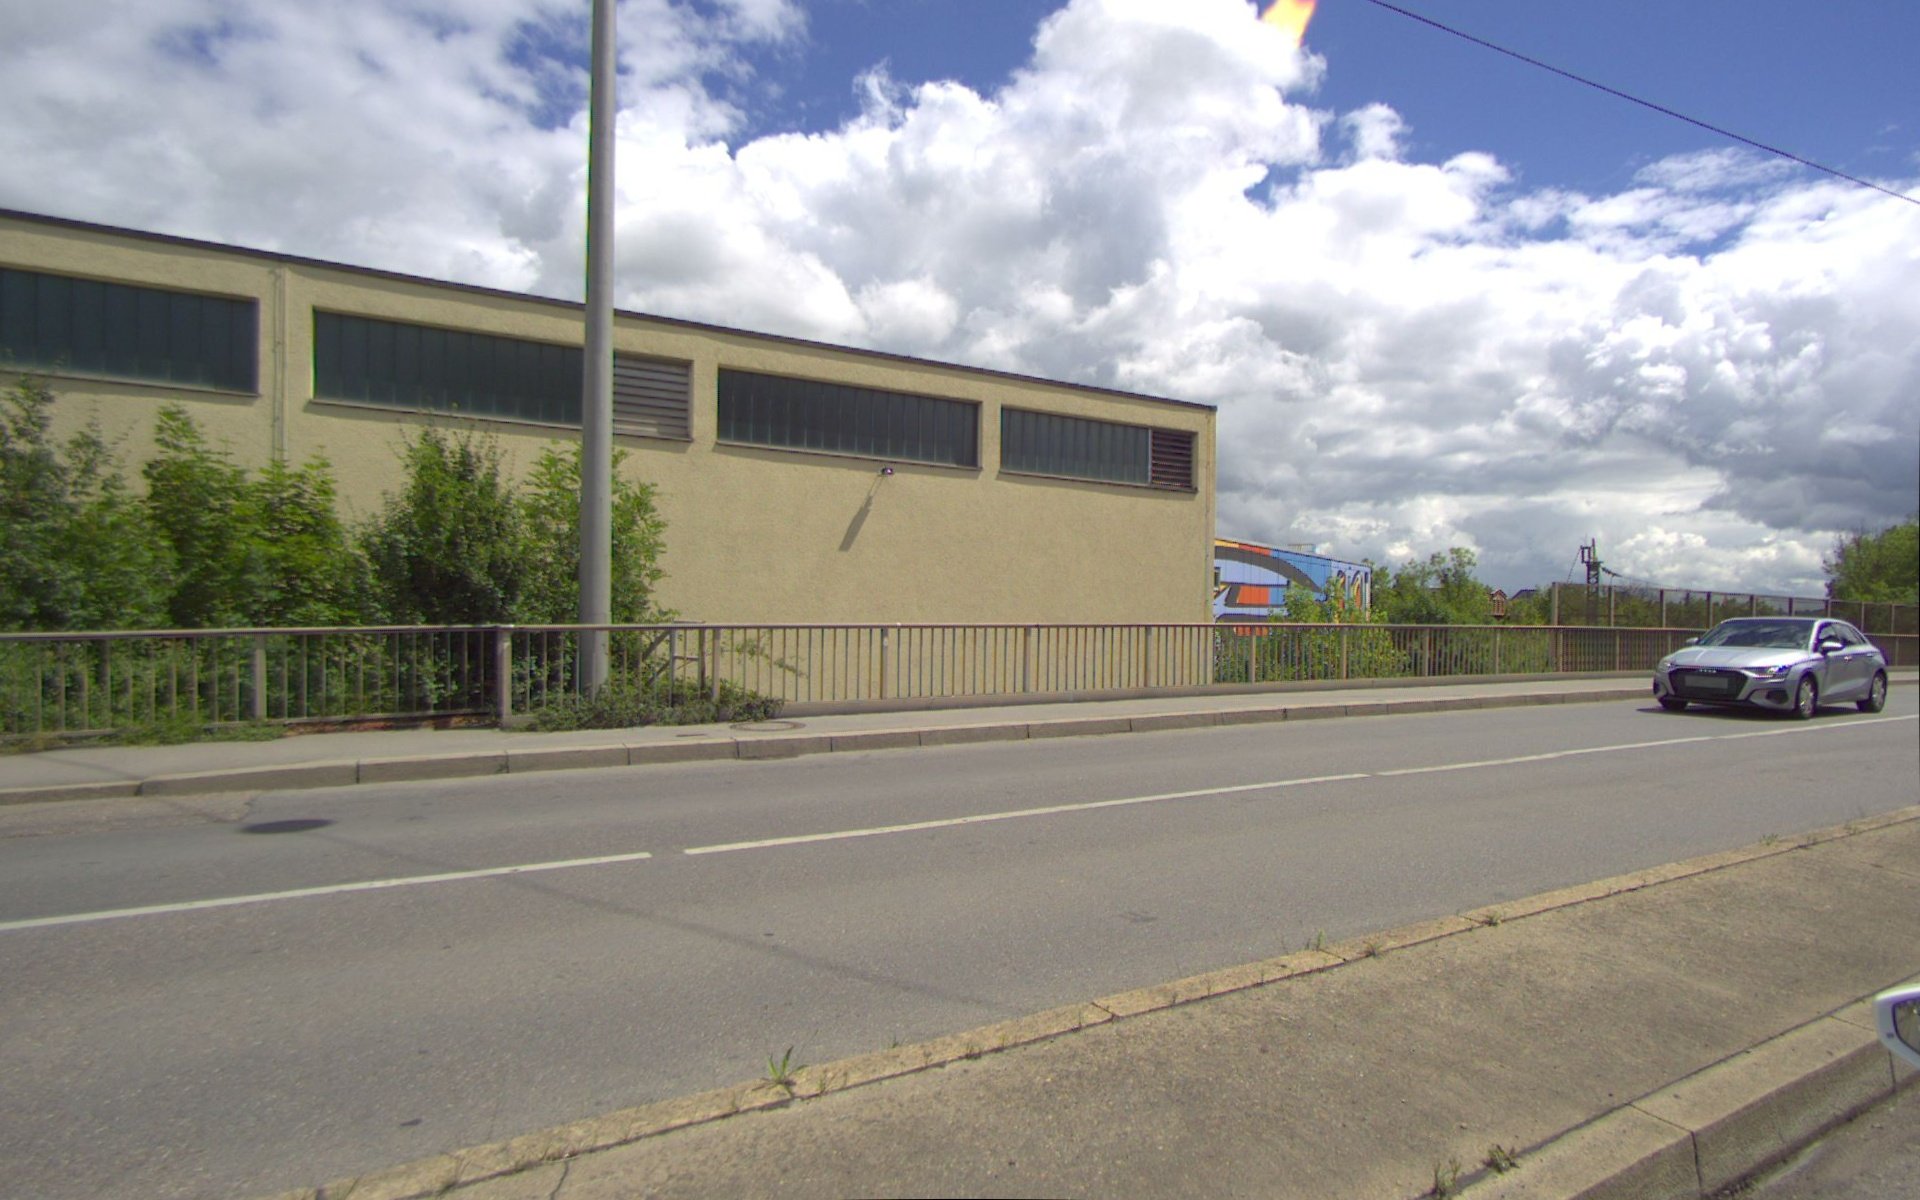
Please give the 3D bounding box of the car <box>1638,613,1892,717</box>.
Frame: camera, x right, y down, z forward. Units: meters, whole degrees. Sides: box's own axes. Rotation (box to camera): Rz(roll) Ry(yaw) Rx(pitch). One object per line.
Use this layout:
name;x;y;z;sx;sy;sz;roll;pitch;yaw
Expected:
car;12.177;0.901;15.135;4.145;1.381;1.629;1;-1;-30
